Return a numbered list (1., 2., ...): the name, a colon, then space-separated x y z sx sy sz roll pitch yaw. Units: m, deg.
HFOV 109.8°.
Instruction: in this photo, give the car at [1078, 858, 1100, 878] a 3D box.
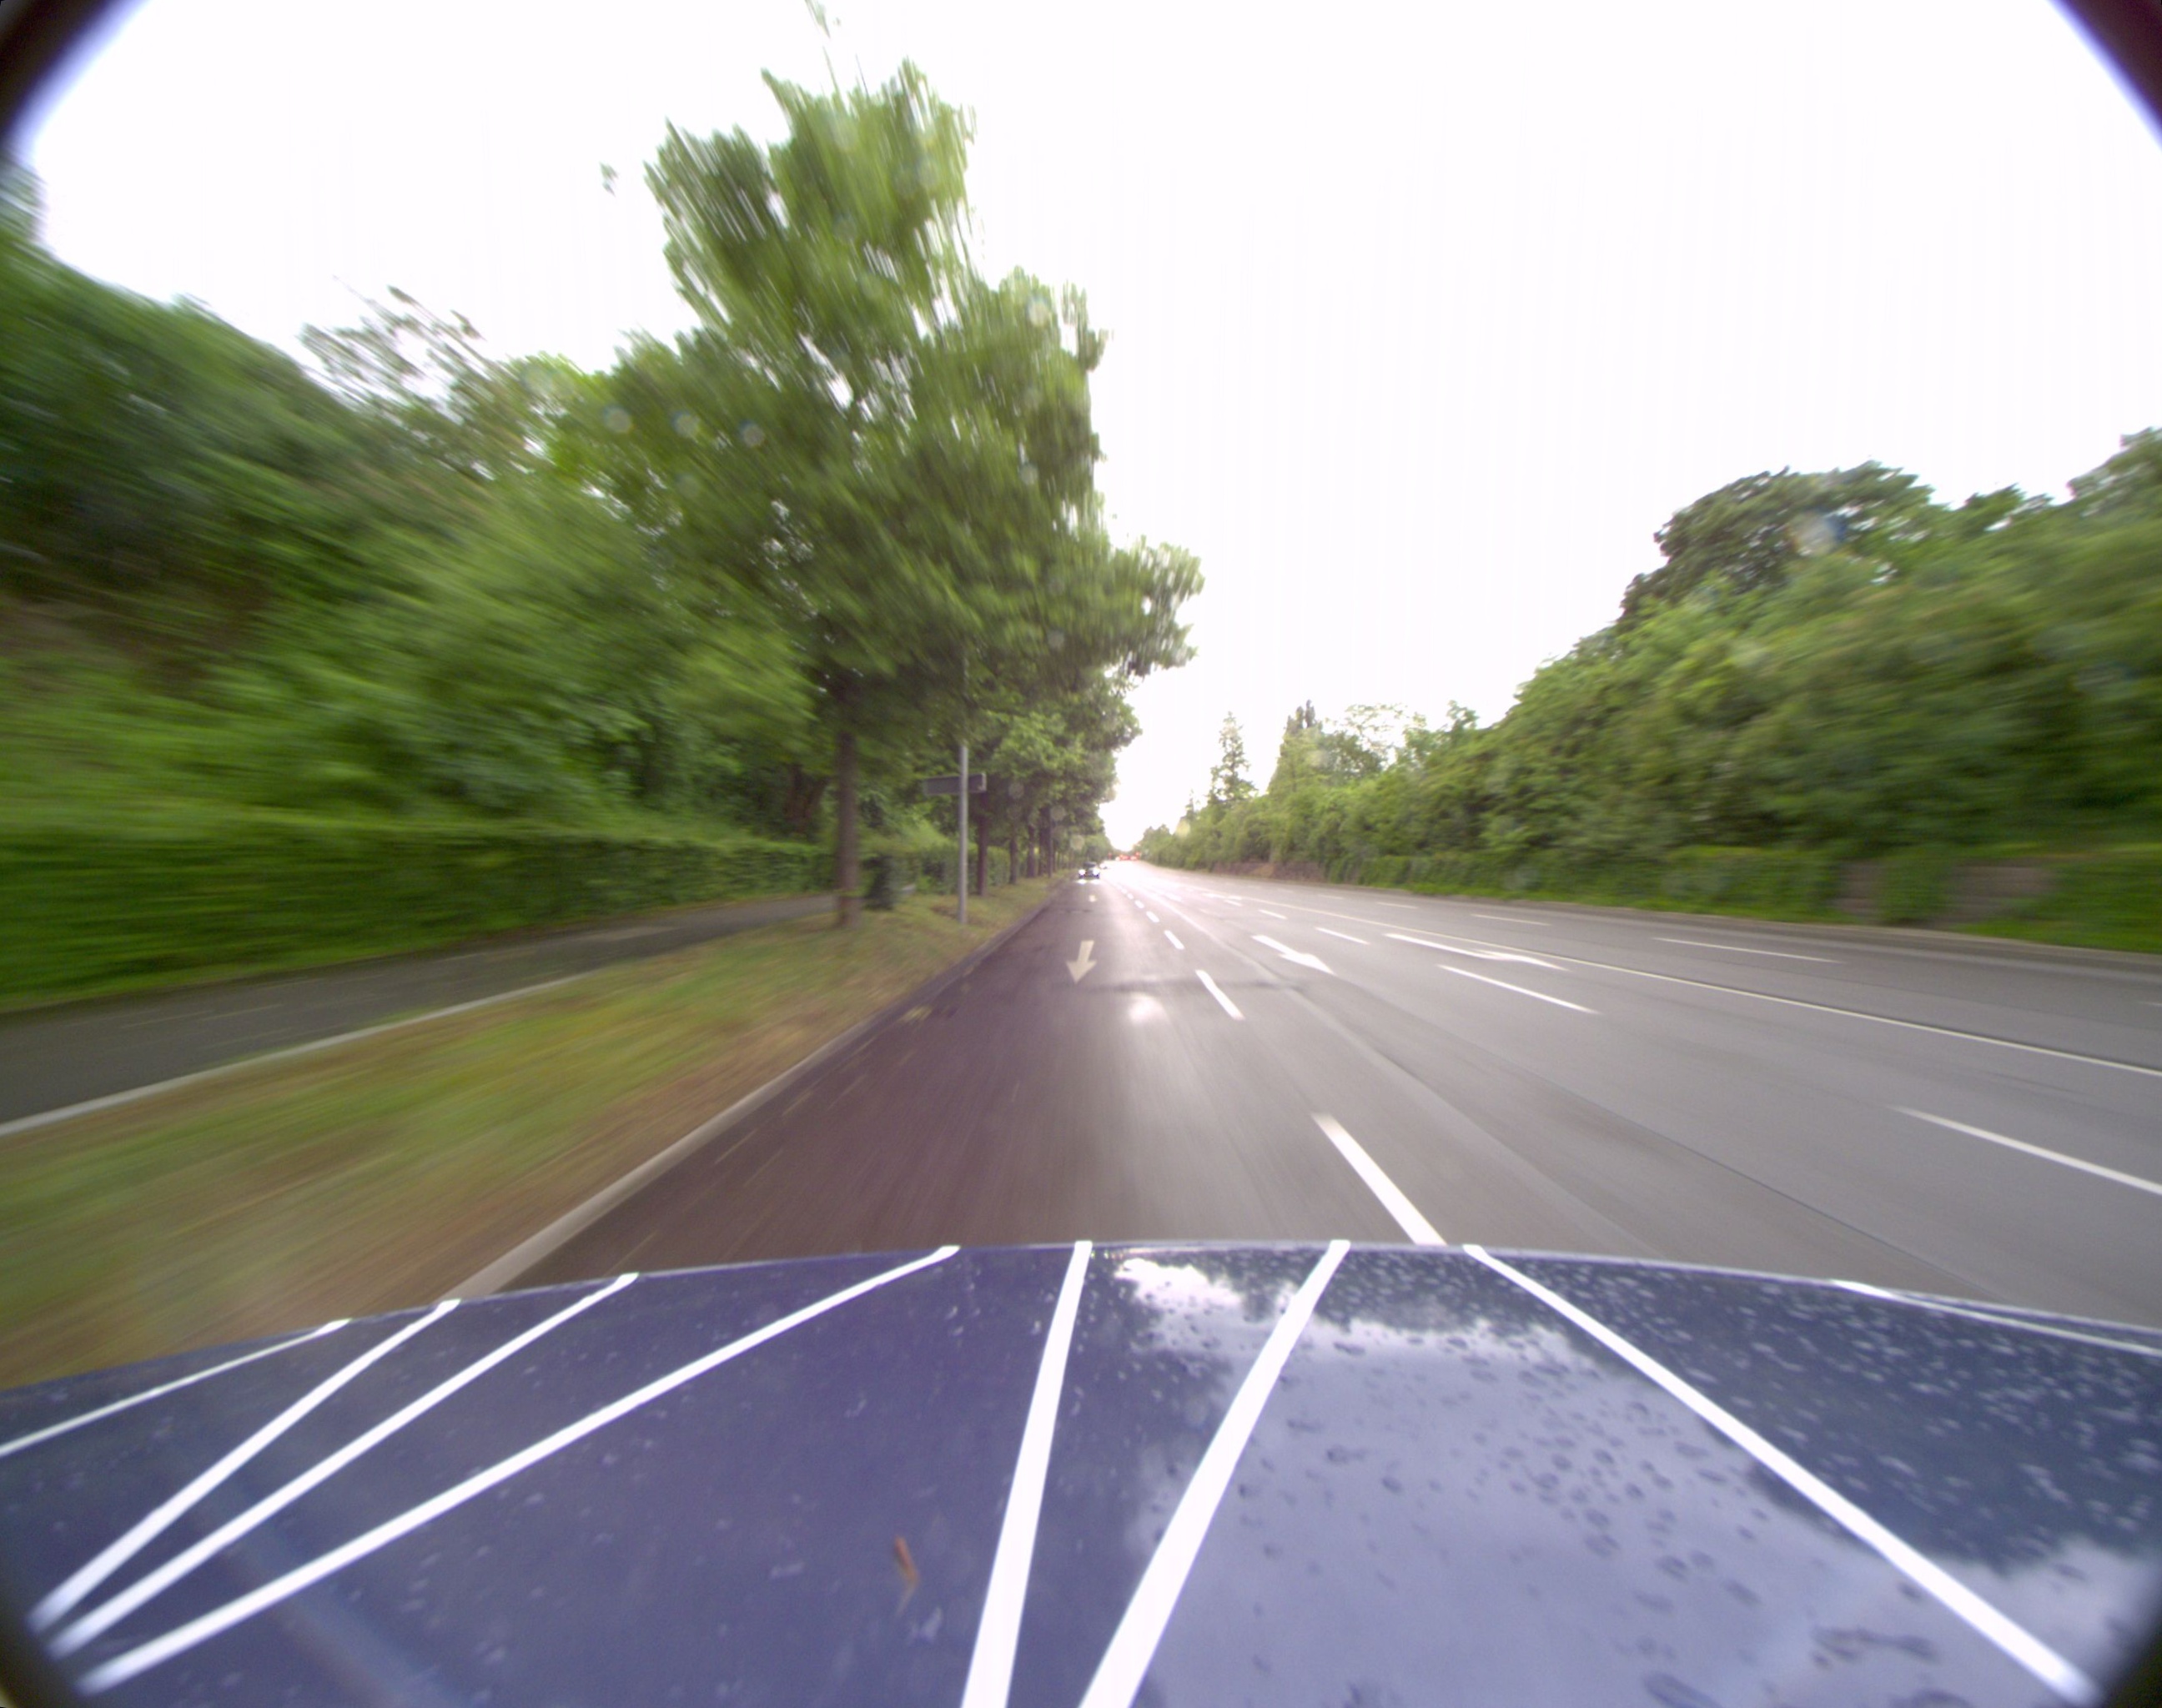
1. car: 0.761 1.217 66.448 1.824 1.547 4.000 -1 1 2
